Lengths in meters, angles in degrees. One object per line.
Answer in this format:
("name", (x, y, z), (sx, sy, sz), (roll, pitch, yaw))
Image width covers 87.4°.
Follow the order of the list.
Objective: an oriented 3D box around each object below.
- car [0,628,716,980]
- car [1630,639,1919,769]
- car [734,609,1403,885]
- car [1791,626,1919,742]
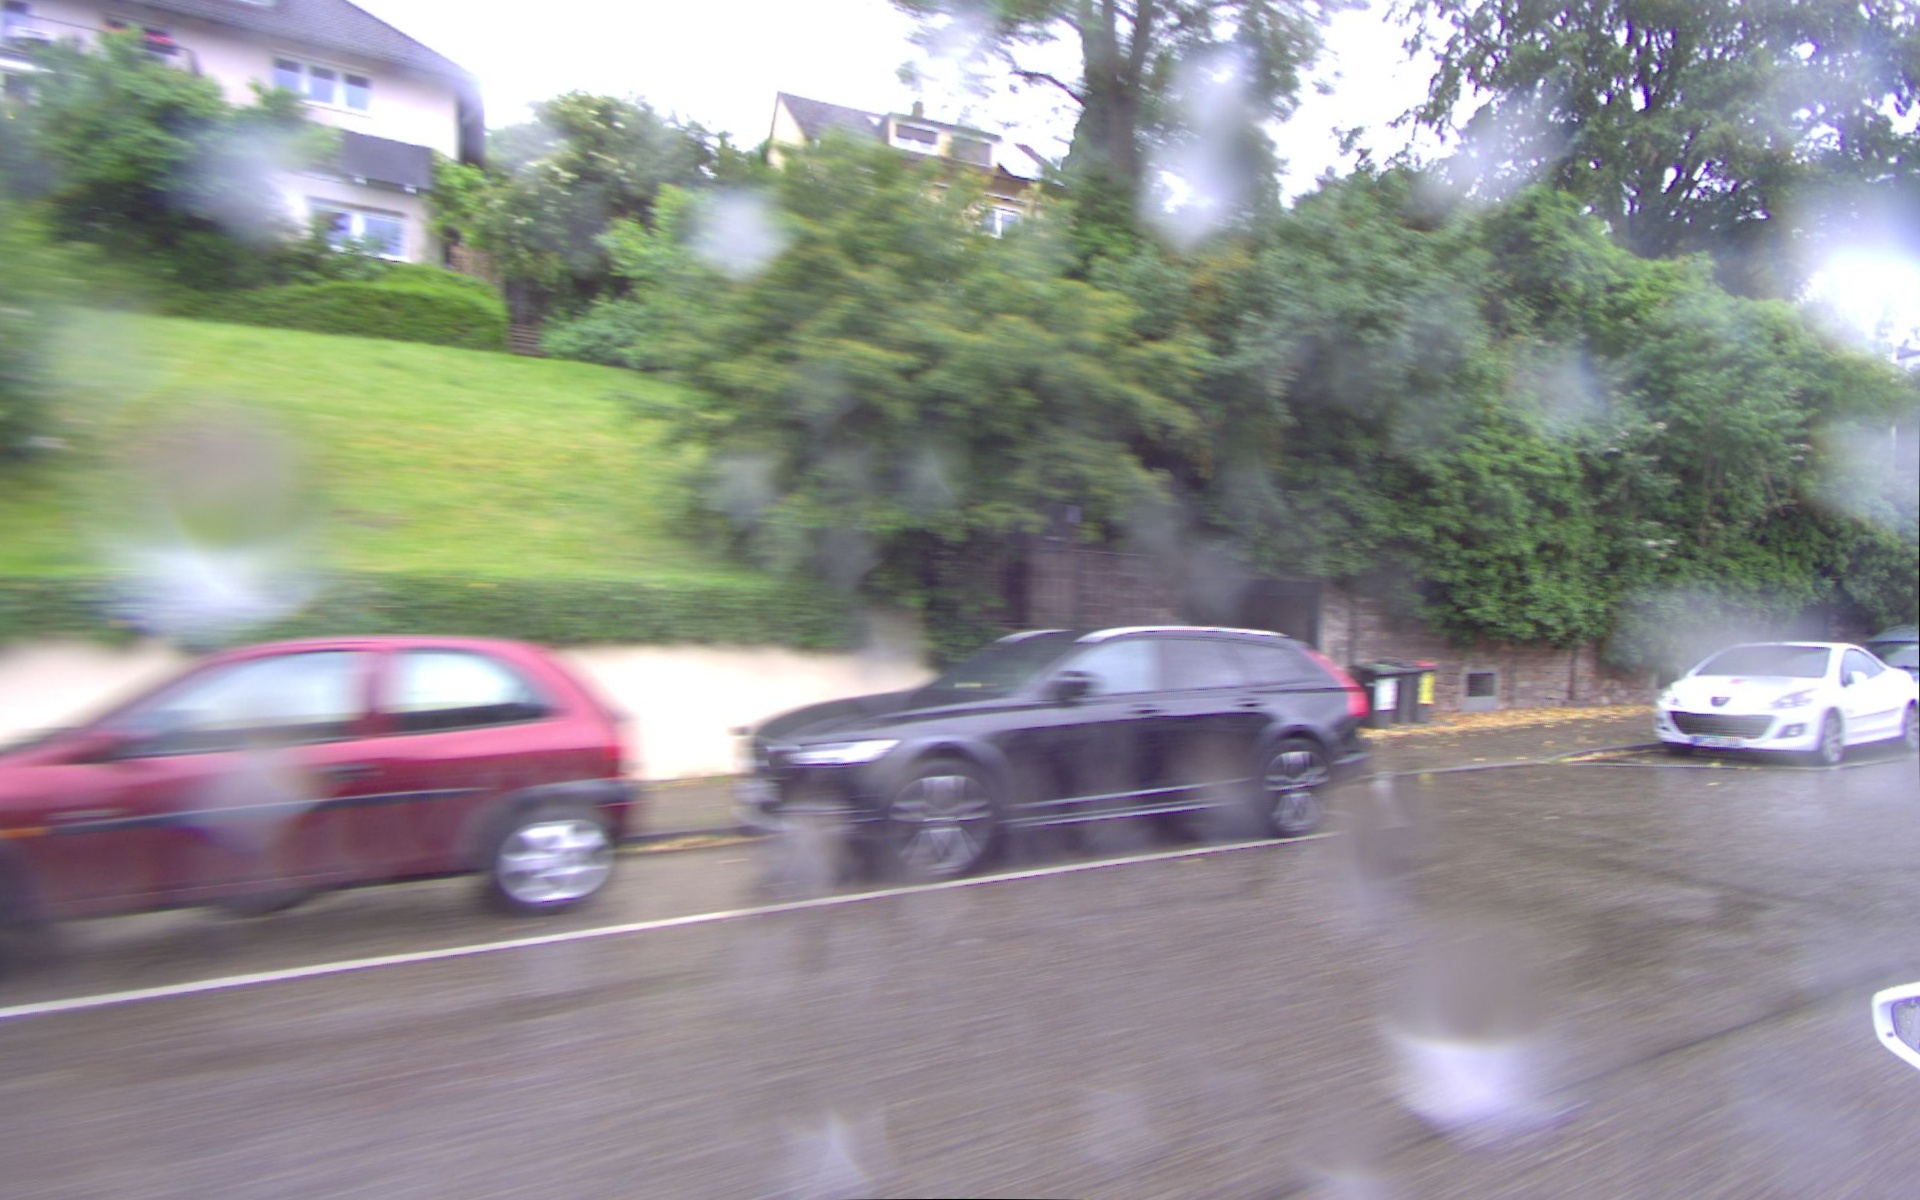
("car", (-3.380, 0.855, 5.133), (3.863, 1.382, 1.557), (2, -2, -31))
("car", (10.478, 1.208, 12.770), (4.036, 1.383, 1.708), (1, -2, -31))
("car", (0.902, 0.910, 7.442), (4.696, 1.500, 1.901), (2, -3, -28))
("car", (14.599, 1.207, 15.149), (4.056, 1.581, 1.735), (1, -2, -27))
